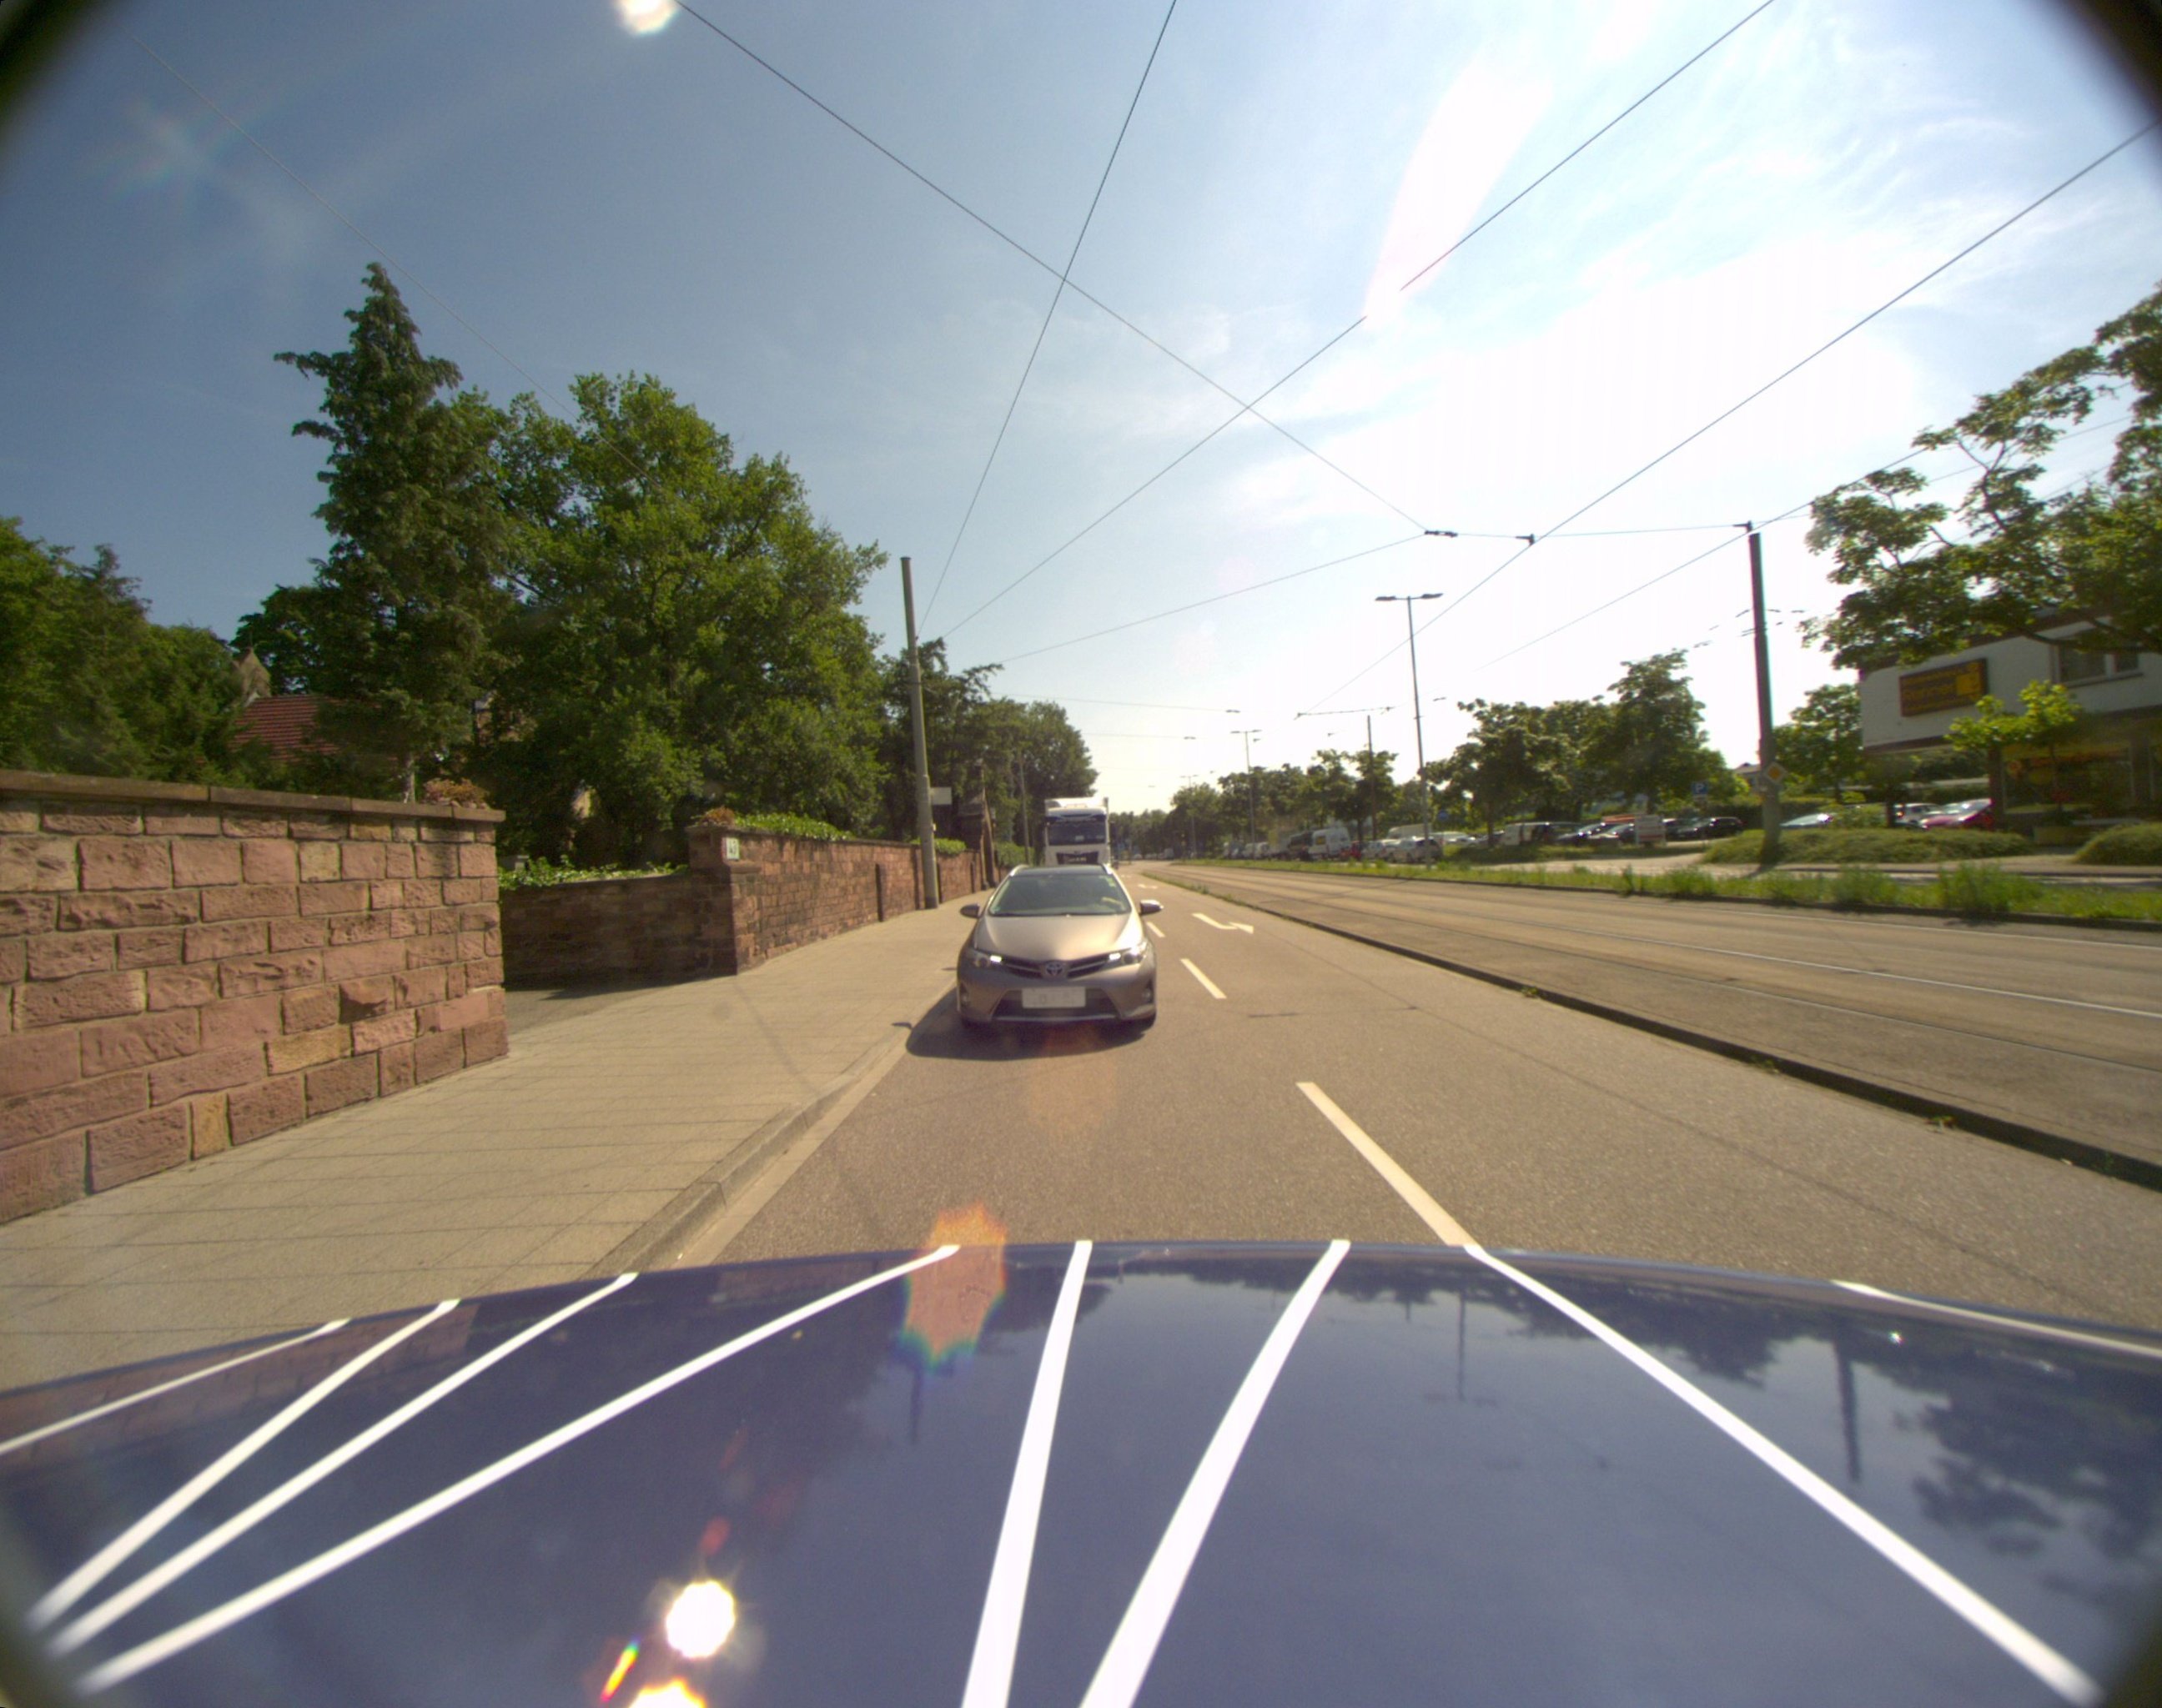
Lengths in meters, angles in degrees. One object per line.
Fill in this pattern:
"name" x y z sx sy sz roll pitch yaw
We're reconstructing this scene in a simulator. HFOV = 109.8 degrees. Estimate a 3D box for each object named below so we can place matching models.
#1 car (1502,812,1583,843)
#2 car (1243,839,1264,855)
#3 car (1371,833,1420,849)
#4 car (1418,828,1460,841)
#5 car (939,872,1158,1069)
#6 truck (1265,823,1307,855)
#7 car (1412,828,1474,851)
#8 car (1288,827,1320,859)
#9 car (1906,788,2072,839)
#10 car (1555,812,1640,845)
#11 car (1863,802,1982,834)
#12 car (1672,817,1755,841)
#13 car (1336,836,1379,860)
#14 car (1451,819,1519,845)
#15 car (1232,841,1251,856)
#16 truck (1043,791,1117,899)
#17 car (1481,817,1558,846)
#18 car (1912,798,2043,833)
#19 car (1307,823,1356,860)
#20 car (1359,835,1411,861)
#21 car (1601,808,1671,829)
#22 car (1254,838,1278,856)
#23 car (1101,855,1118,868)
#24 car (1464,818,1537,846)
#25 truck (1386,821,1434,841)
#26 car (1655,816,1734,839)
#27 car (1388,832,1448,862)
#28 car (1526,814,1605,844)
"car" 30.671 -1.731 50.546 4.117 1.728 1.990 -4 0 -2
"car" 20.890 -0.817 92.112 1.502 1.835 4.059 -6 0 0
"car" 32.380 -1.346 78.276 4.253 1.327 1.676 -4 0 2
"car" 43.819 -2.355 93.058 4.253 1.327 1.676 -4 0 2
"car" -0.233 0.956 7.902 1.654 1.374 4.000 -2 0 1
"truck" 20.637 -1.471 76.711 2.508 2.917 5.903 -6 0 2
"car" 31.216 -1.203 65.759 2.594 1.800 5.741 -4 0 2
"car" 19.987 -0.967 68.165 1.502 2.609 4.007 -6 0 1
"car" 35.222 -1.549 29.556 4.252 1.595 1.676 -4 0 2
"car" 30.532 -1.481 44.995 3.810 1.625 1.676 -4 0 2
"car" 44.322 -1.892 40.080 4.252 1.327 1.676 -4 0 2
"car" 43.862 -1.739 52.746 4.252 1.327 1.676 -4 0 2
"car" 20.467 -0.428 56.412 1.675 1.524 3.793 -6 0 1
"car" 31.268 -1.692 58.858 4.117 1.728 1.990 -4 0 -2
"car" 20.715 -0.717 97.966 1.502 1.775 3.687 -6 0 0
"truck" 0.048 -0.372 32.963 2.628 3.906 9.285 -2 1 1
"car" 30.562 -1.537 53.020 4.117 1.728 1.990 -4 0 -2
"car" 43.803 -1.864 37.208 4.252 1.327 1.676 -4 0 2
"car" 20.269 -0.967 61.783 2.062 2.638 5.203 -6 0 1
"car" 20.500 -0.409 51.425 1.675 1.524 4.257 -6 0 1
"car" 44.057 -2.787 60.381 4.253 1.327 1.676 -4 0 -1
"car" 20.751 -0.735 85.265 1.502 1.793 4.633 -6 0 1
"car" 2.998 0.776 81.341 1.654 1.374 4.000 -2 0 1
"car" 30.620 -1.603 55.526 4.117 1.728 1.990 -4 0 -2
"truck" 44.631 -3.097 103.091 5.652 2.367 1.990 -4 0 -2
"car" 44.328 -1.920 54.926 4.252 1.327 1.676 -4 0 2
"car" 20.322 -0.410 45.987 1.675 1.524 4.257 -6 0 1
"car" 30.604 -1.567 48.082 3.810 1.625 1.676 -4 0 2
